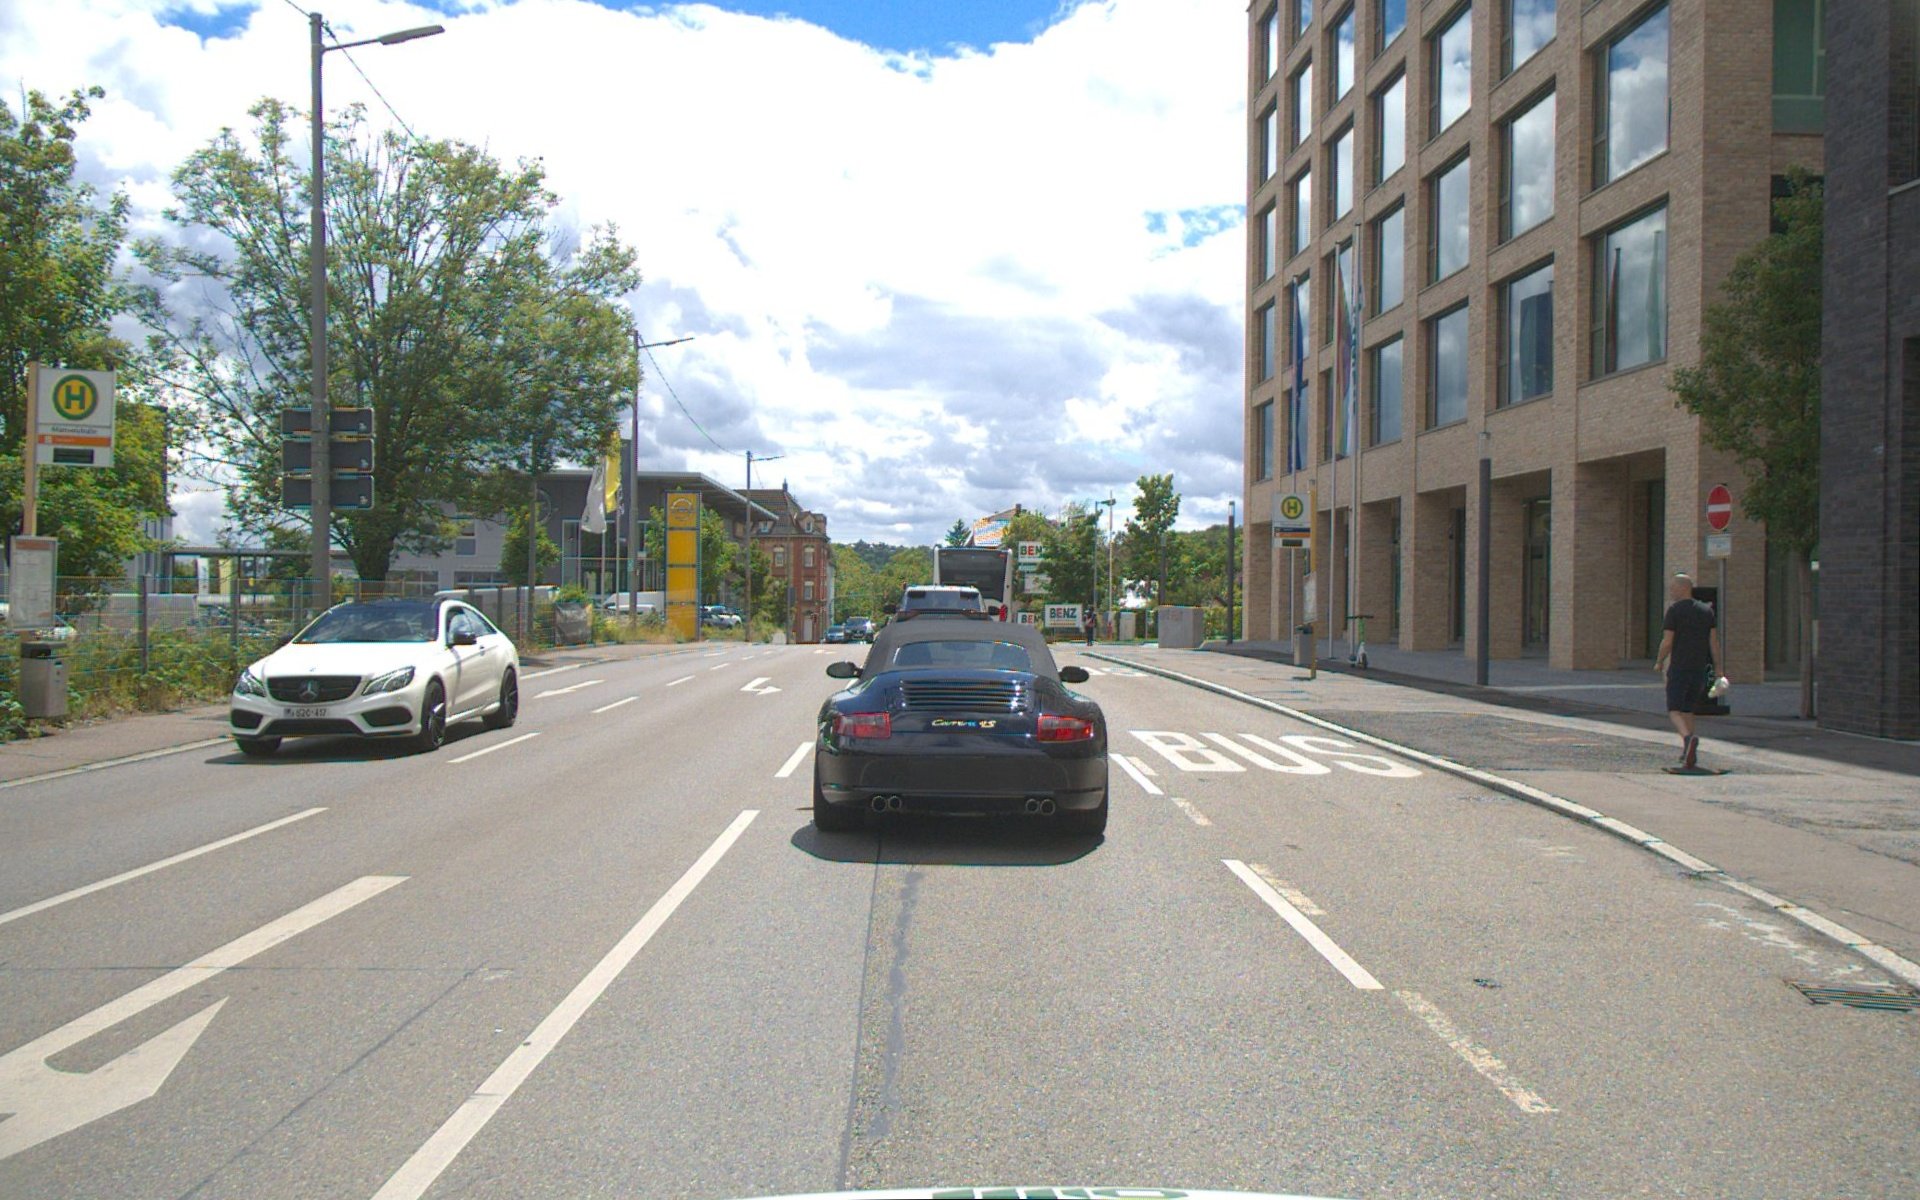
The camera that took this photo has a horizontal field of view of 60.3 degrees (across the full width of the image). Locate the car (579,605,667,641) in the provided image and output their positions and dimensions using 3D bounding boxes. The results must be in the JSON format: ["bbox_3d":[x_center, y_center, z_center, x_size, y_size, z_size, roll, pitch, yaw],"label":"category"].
[{"bbox_3d":[-16.873,1.140,82.832,3.903,1.736,2.001,0,0,4],"label":"car"}]

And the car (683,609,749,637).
[{"bbox_3d":[-14.610,1.400,99.232,1.891,1.600,4.552,-1,-2,21],"label":"car"}]

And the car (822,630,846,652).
[{"bbox_3d":[-9.769,3.179,128.246,1.709,1.623,4.039,-2,-1,-3],"label":"car"}]

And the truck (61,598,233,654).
[{"bbox_3d":[-33.758,1.089,68.906,6.206,2.268,2.683,0,-2,-22],"label":"truck"}]

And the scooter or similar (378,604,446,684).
[{"bbox_3d":[-9.102,0.711,27.501,0.523,1.288,1.472,2,0,4],"label":"scooter or similar"}]

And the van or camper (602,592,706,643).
[{"bbox_3d":[-15.771,0.879,85.473,4.926,2.575,2.317,0,0,-2],"label":"van or camper"}]

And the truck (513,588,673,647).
[{"bbox_3d":[-14.223,0.694,64.424,5.746,2.185,2.474,-1,-2,-5],"label":"truck"}]

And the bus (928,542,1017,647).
[{"bbox_3d":[0.492,-0.218,57.803,2.744,3.254,12.197,0,0,1],"label":"bus"}]

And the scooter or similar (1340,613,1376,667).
[{"bbox_3d":[8.823,0.872,36.672,0.418,1.173,1.403,0,-1,-2],"label":"scooter or similar"}]

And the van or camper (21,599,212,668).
[{"bbox_3d":[-30.101,1.158,59.274,5.796,2.396,2.488,0,0,-21],"label":"van or camper"}]

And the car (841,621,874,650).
[{"bbox_3d":[-5.665,1.971,91.679,1.793,1.535,4.273,0,-2,-3],"label":"car"}]

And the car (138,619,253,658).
[{"bbox_3d":[-31.005,1.597,67.181,4.173,1.523,1.913,1,-2,-25],"label":"car"}]

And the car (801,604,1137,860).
[{"bbox_3d":[0.036,0.750,11.438,1.891,1.401,4.207,0,0,-1],"label":"car"}]

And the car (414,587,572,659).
[{"bbox_3d":[-13.710,0.669,48.787,4.078,2.049,2.197,0,0,-4],"label":"car"}]

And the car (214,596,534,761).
[{"bbox_3d":[-5.734,0.692,16.759,1.760,1.401,4.224,-1,0,-1],"label":"car"}]

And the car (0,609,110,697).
[{"bbox_3d":[-16.653,0.860,27.401,4.187,1.405,1.866,0,-1,3],"label":"car"}]

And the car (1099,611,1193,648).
[{"bbox_3d":[9.959,1.591,88.907,4.621,1.881,2.084,-1,-2,-9],"label":"car"}]

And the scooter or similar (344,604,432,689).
[{"bbox_3d":[-8.979,0.720,26.005,0.523,1.284,1.472,1,0,16],"label":"scooter or similar"}]

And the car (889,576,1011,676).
[{"bbox_3d":[-0.248,0.424,28.813,1.892,1.611,4.205,0,0,-4],"label":"car"}]

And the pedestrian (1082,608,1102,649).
[{"bbox_3d":[5.137,1.109,64.402,0.673,1.563,0.856,0,-1,-2],"label":"pedestrian"}]

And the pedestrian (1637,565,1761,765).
[{"bbox_3d":[6.755,0.575,15.155,0.669,1.758,0.962,1,0,-2],"label":"pedestrian"}]
